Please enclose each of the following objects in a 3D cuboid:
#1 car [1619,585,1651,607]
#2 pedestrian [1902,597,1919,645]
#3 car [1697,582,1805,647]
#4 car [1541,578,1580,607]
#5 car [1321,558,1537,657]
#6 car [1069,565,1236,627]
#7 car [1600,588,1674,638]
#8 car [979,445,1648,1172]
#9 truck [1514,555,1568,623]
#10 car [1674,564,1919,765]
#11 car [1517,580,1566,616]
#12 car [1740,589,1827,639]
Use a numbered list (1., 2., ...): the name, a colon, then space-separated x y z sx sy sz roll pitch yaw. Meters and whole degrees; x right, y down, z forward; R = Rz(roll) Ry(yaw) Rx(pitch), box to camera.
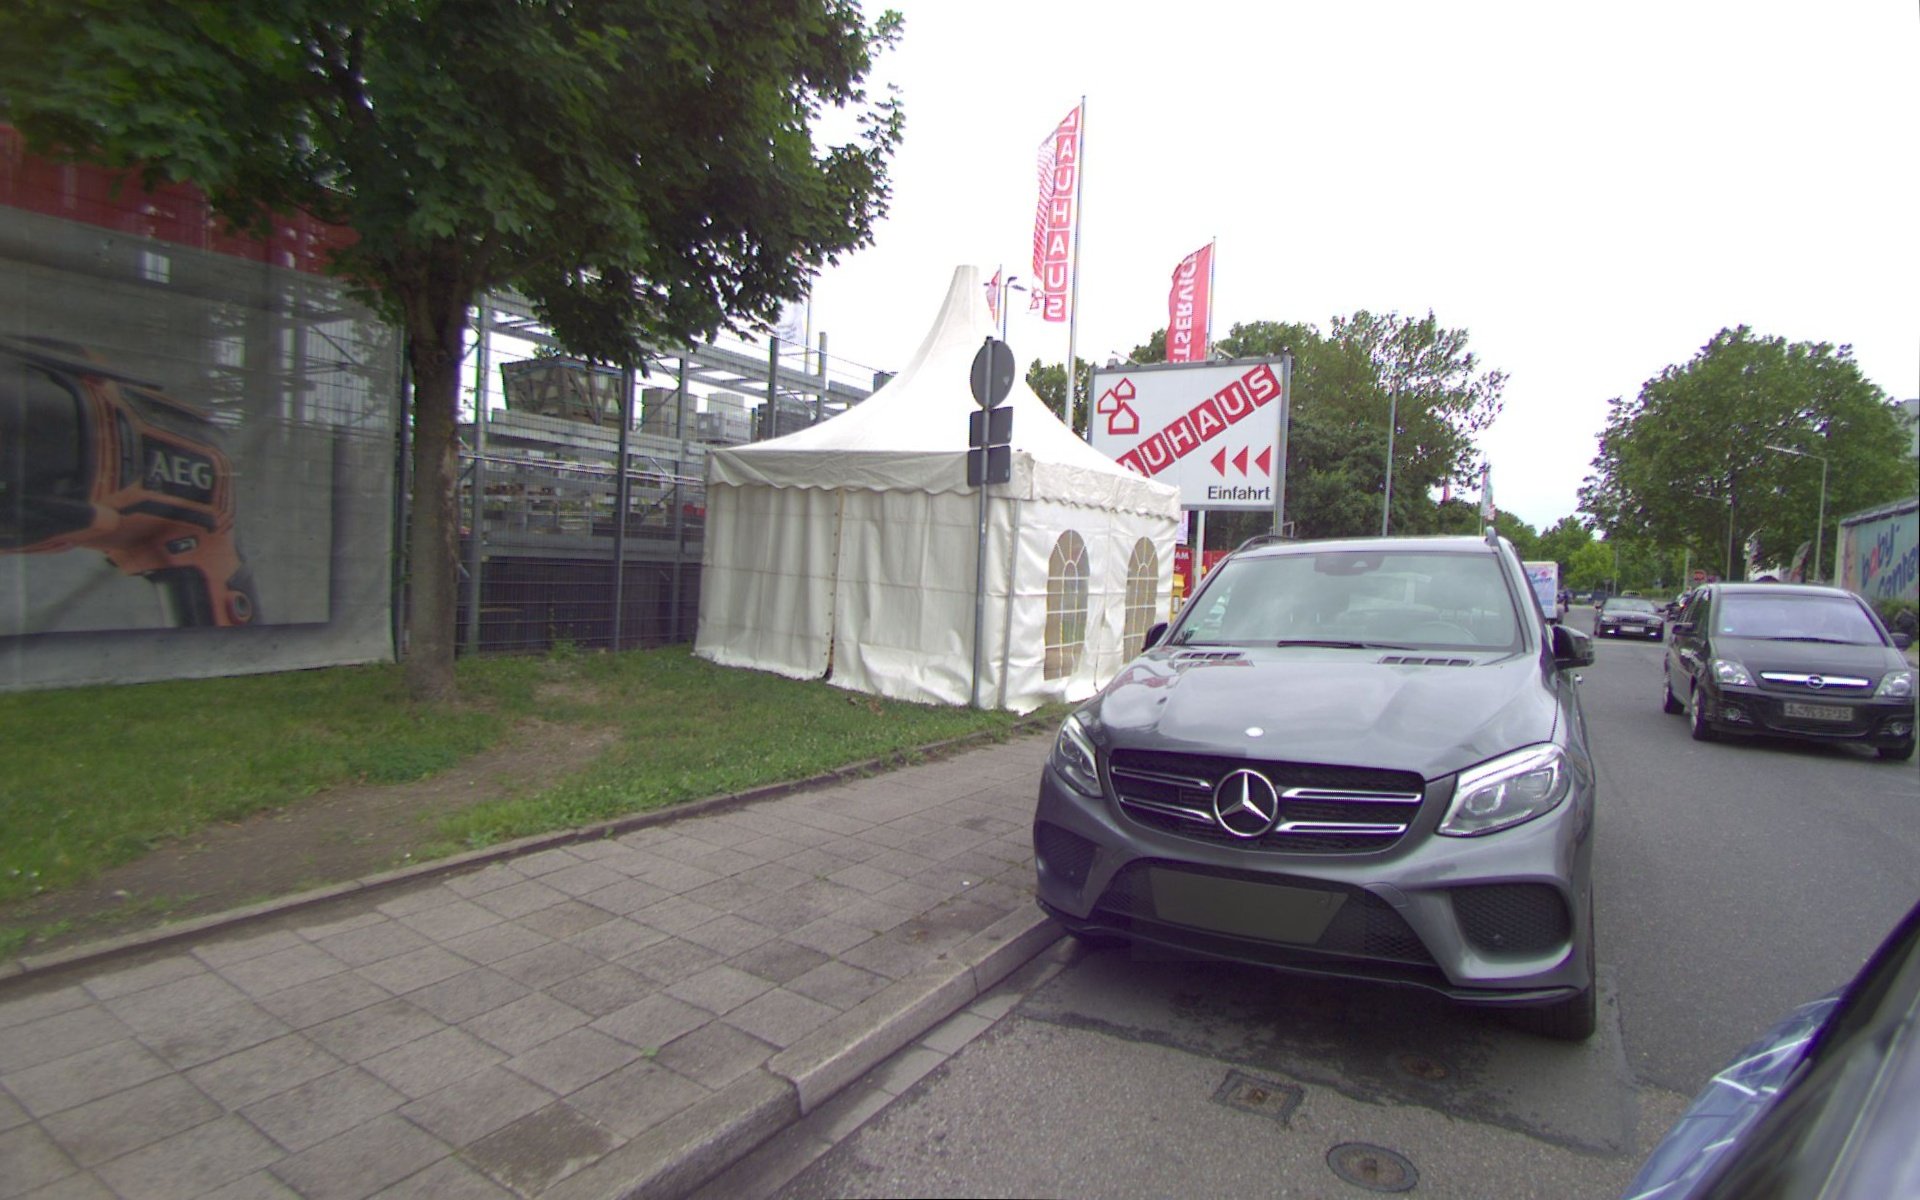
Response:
1. car: 55.057 -0.358 82.577 1.917 1.593 3.955 5 3 32
2. pedestrian: 32.632 0.706 34.405 0.789 1.598 0.594 2 2 35
3. car: 24.533 0.374 31.555 1.951 1.681 4.603 7 4 31
4. car: 39.562 -0.495 66.656 1.986 1.771 3.954 4 3 32
5. car: 11.017 0.108 23.857 4.350 1.829 1.781 7 4 30
6. car: 5.191 -0.157 27.492 4.087 1.438 1.711 3 2 33
7. car: 21.613 0.366 32.413 1.738 1.375 4.092 2 2 31
8. car: 2.017 0.471 4.857 1.900 1.763 4.430 0 1 32
9. truck: 23.643 -0.454 41.182 1.839 2.645 3.957 0 1 31
10. car: 8.622 0.515 10.554 1.675 1.652 3.715 4 3 33
11. car: 31.048 -0.132 53.954 1.986 1.771 3.953 4 3 33
12. car: 31.703 0.495 39.062 1.917 1.592 4.102 7 4 32
